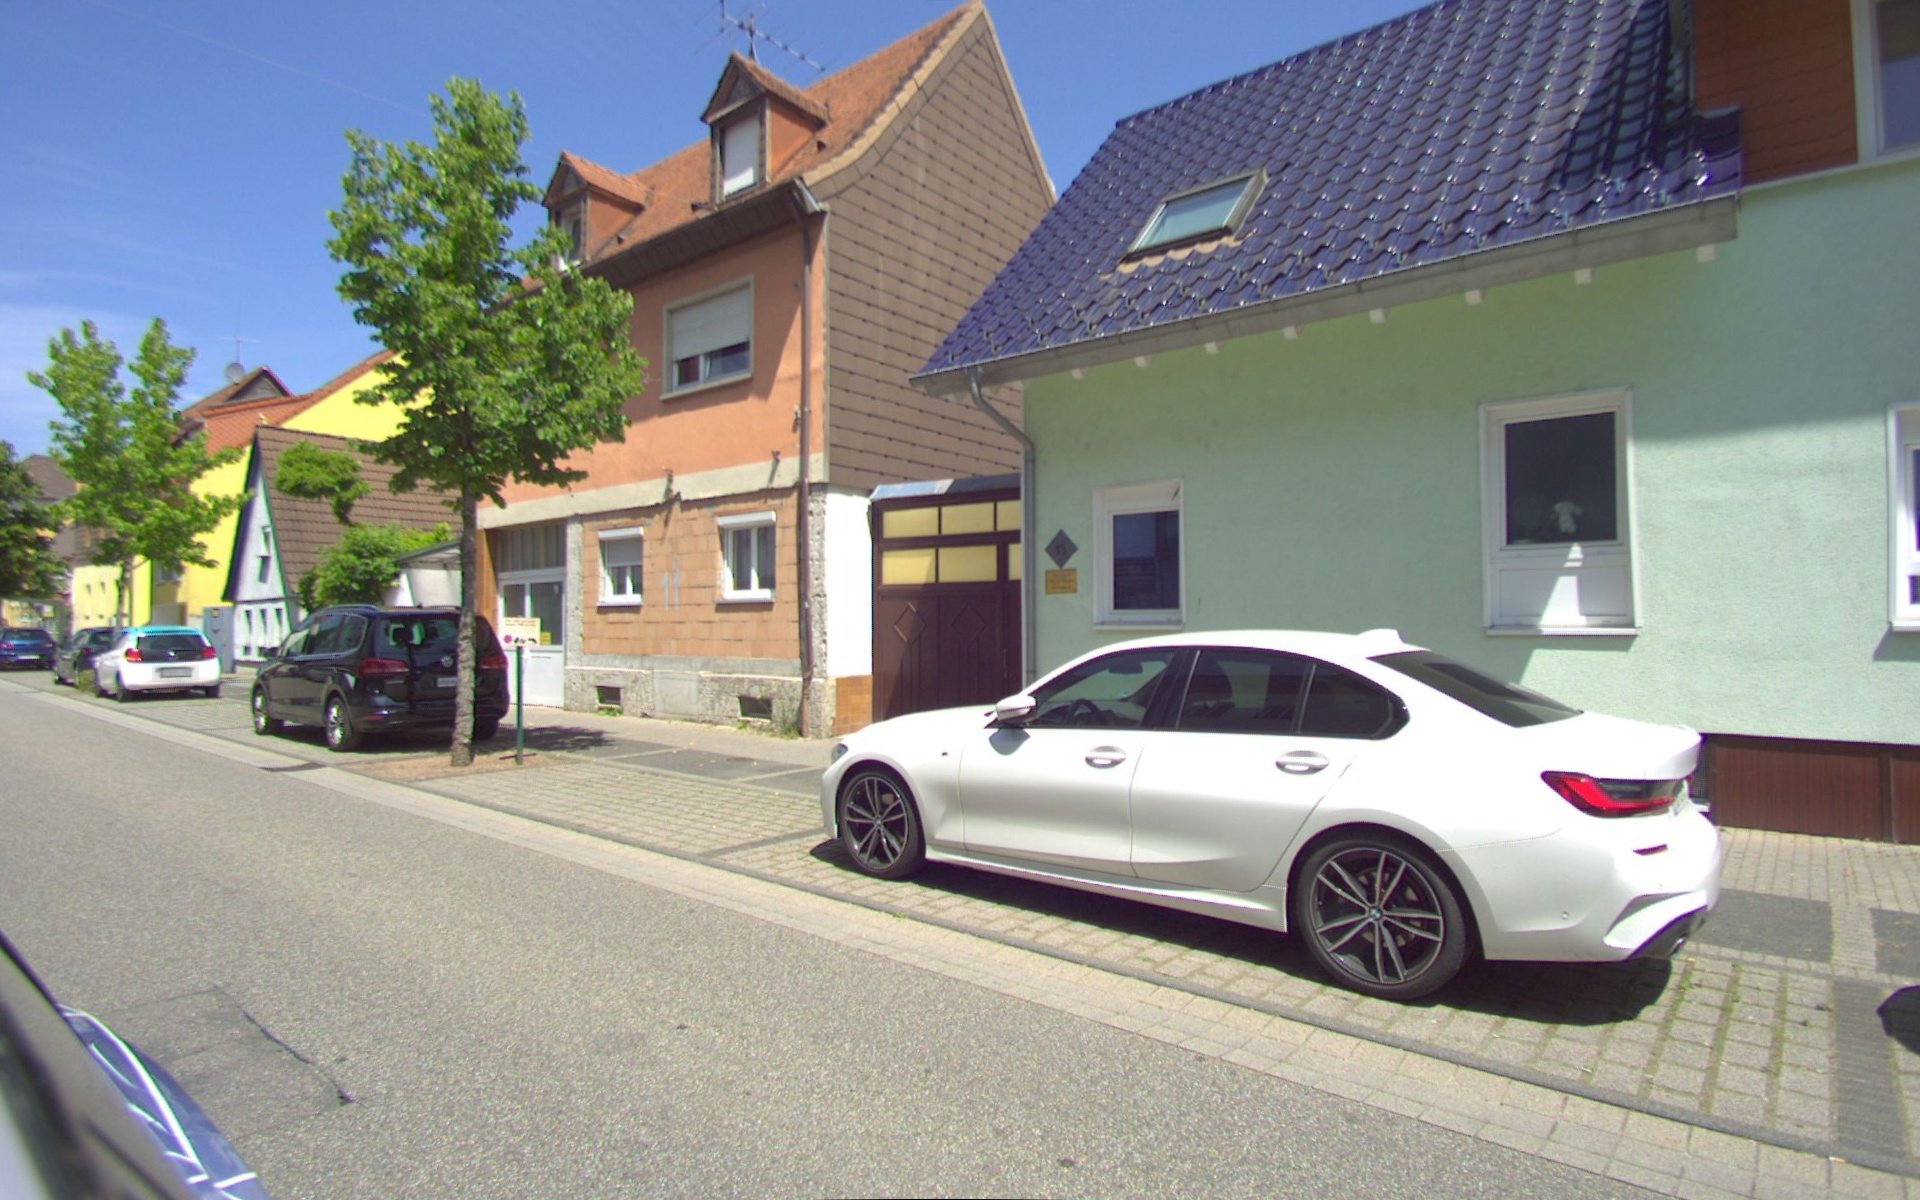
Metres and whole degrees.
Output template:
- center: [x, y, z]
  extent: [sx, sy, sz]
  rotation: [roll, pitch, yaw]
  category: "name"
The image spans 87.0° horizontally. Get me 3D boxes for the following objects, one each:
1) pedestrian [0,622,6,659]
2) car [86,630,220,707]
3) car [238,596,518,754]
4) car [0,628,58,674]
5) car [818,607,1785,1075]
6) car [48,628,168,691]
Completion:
- center: [-42.564, 1.798, 44.585]
  extent: [0.770, 1.614, 0.655]
  rotation: [-2, -2, 41]
  category: "pedestrian"
- center: [-16.652, 1.350, 20.841]
  extent: [3.408, 1.441, 1.537]
  rotation: [-2, -3, 41]
  category: "car"
- center: [-7.732, 0.885, 13.264]
  extent: [4.516, 1.739, 1.757]
  rotation: [-2, -2, 40]
  category: "car"
- center: [-31.048, 1.651, 33.217]
  extent: [4.155, 1.418, 1.639]
  rotation: [-2, -2, 41]
  category: "car"
- center: [1.372, 0.795, 5.265]
  extent: [4.457, 1.448, 1.702]
  rotation: [-2, -1, 41]
  category: "car"
- center: [-21.232, 1.434, 25.174]
  extent: [4.096, 1.441, 1.628]
  rotation: [-2, -3, 41]
  category: "car"
